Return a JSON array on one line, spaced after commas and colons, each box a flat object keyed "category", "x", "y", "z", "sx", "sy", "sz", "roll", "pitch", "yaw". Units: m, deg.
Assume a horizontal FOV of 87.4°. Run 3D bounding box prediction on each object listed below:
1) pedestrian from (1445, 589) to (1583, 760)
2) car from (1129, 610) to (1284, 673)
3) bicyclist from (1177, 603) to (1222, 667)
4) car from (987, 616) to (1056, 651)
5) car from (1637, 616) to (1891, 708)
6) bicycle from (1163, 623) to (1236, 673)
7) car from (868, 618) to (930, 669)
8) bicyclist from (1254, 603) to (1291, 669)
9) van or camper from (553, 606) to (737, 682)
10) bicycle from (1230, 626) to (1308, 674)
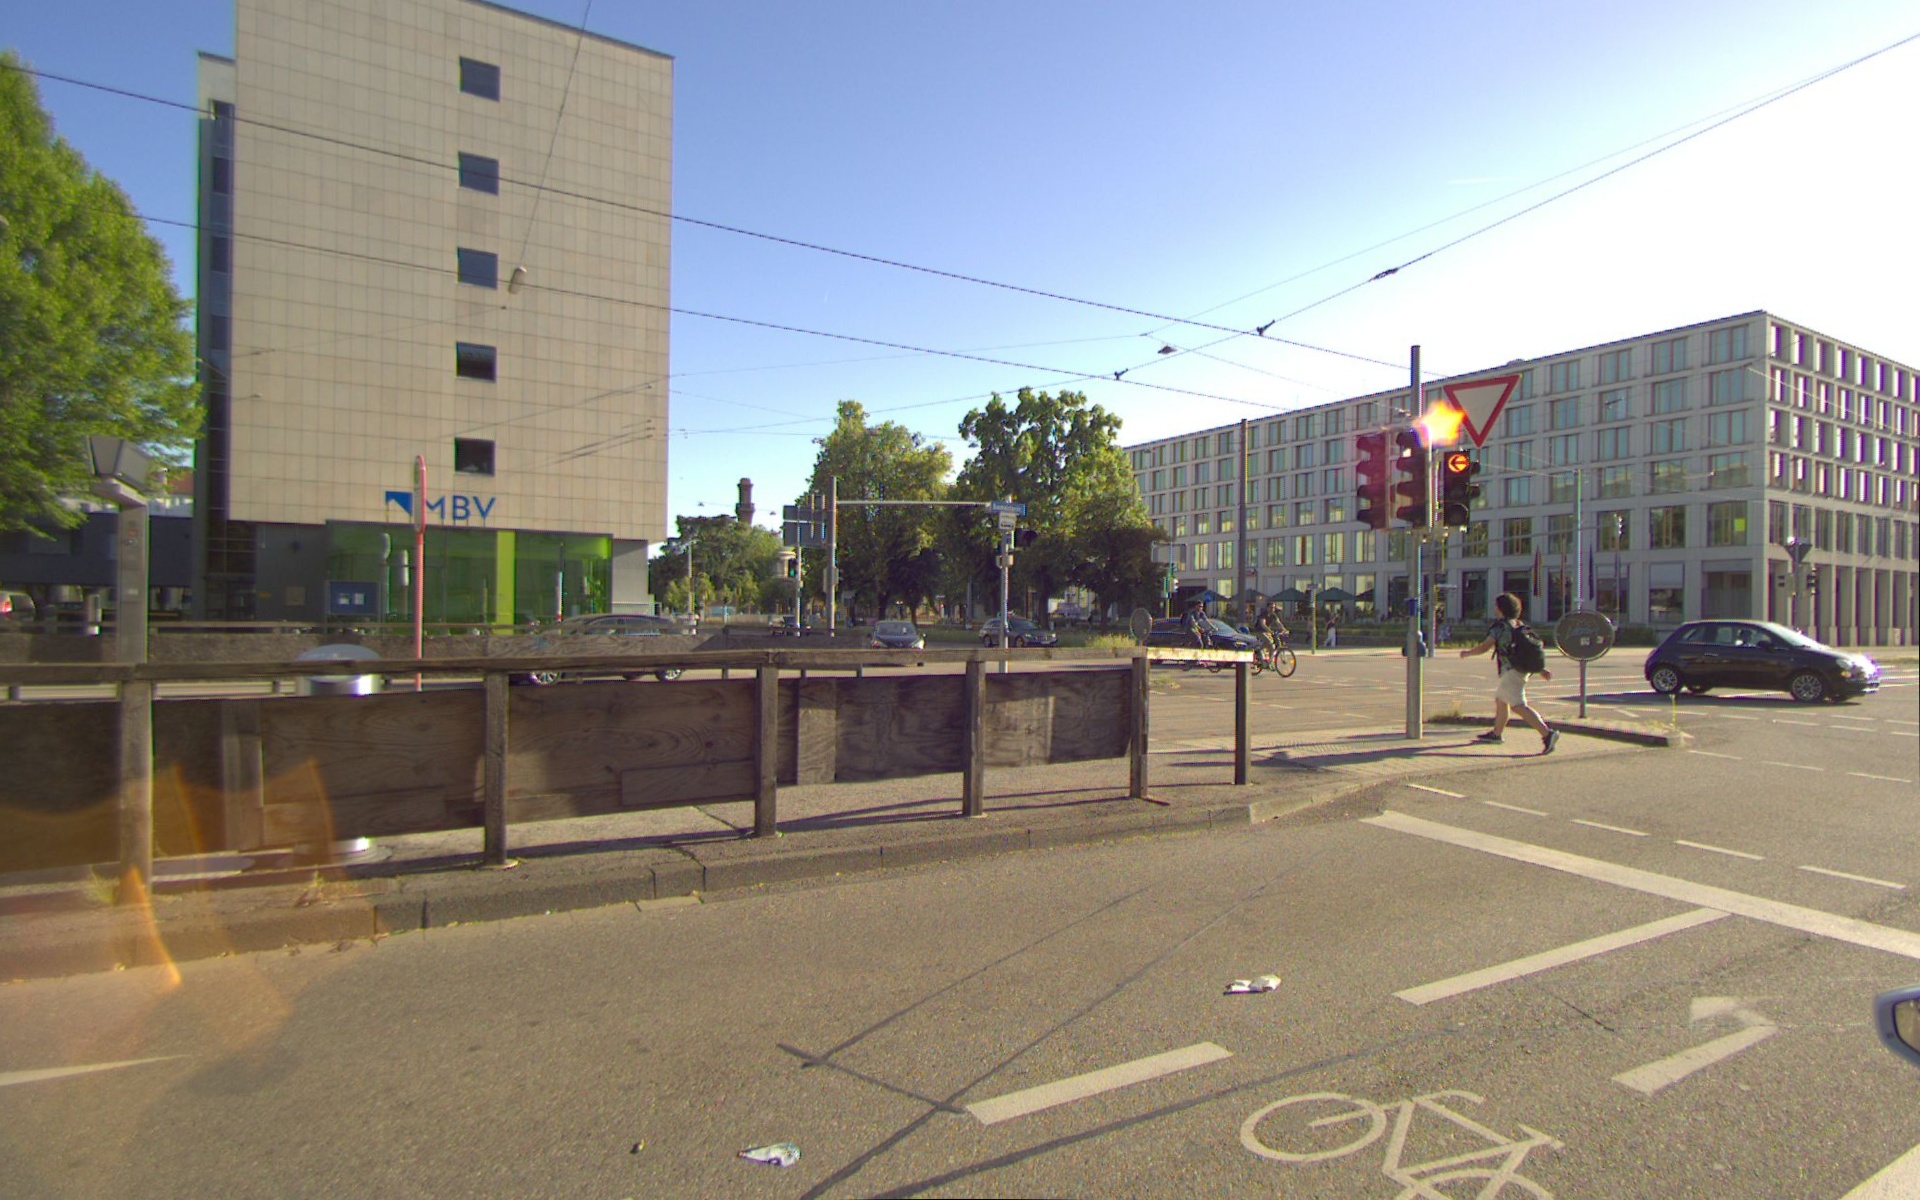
[{"category": "pedestrian", "x": 6.047, "y": 0.776, "z": 10.969, "sx": 1.027, "sy": 1.743, "sz": 1.030, "roll": 1, "pitch": -1, "yaw": -41}, {"category": "car", "x": 7.518, "y": 1.213, "z": 31.163, "sx": 1.910, "sy": 1.679, "sz": 4.878, "roll": 0, "pitch": 1, "yaw": -29}, {"category": "bicyclist", "x": 6.501, "y": 0.945, "z": 27.280, "sx": 0.833, "sy": 1.717, "sz": 0.887, "roll": 1, "pitch": -1, "yaw": -24}, {"category": "car", "x": 2.867, "y": 1.557, "z": 47.393, "sx": 1.505, "sy": 1.526, "sz": 3.511, "roll": 1, "pitch": 0, "yaw": -32}, {"category": "car", "x": 15.345, "y": 1.122, "z": 19.343, "sx": 1.505, "sy": 1.526, "sz": 3.511, "roll": 1, "pitch": 0, "yaw": -32}, {"category": "bicycle", "x": 6.485, "y": 1.281, "z": 27.282, "sx": 0.874, "sy": 1.305, "sz": 2.042, "roll": 1, "pitch": -1, "yaw": -24}, {"category": "car", "x": -2.005, "y": 1.416, "z": 33.977, "sx": 1.745, "sy": 1.615, "sz": 4.287, "roll": 0, "pitch": -1, "yaw": 1}, {"category": "bicyclist", "x": 7.691, "y": 0.880, "z": 24.727, "sx": 0.586, "sy": 1.603, "sz": 0.617, "roll": 1, "pitch": -1, "yaw": -24}, {"category": "van or camper", "x": -6.783, "y": 0.981, "z": 21.749, "sx": 3.491, "sy": 1.522, "sz": 1.586, "roll": 3, "pitch": -4, "yaw": -34}, {"category": "bicycle", "x": 7.629, "y": 1.219, "z": 24.888, "sx": 0.779, "sy": 1.137, "sz": 1.918, "roll": 1, "pitch": -1, "yaw": -24}]
